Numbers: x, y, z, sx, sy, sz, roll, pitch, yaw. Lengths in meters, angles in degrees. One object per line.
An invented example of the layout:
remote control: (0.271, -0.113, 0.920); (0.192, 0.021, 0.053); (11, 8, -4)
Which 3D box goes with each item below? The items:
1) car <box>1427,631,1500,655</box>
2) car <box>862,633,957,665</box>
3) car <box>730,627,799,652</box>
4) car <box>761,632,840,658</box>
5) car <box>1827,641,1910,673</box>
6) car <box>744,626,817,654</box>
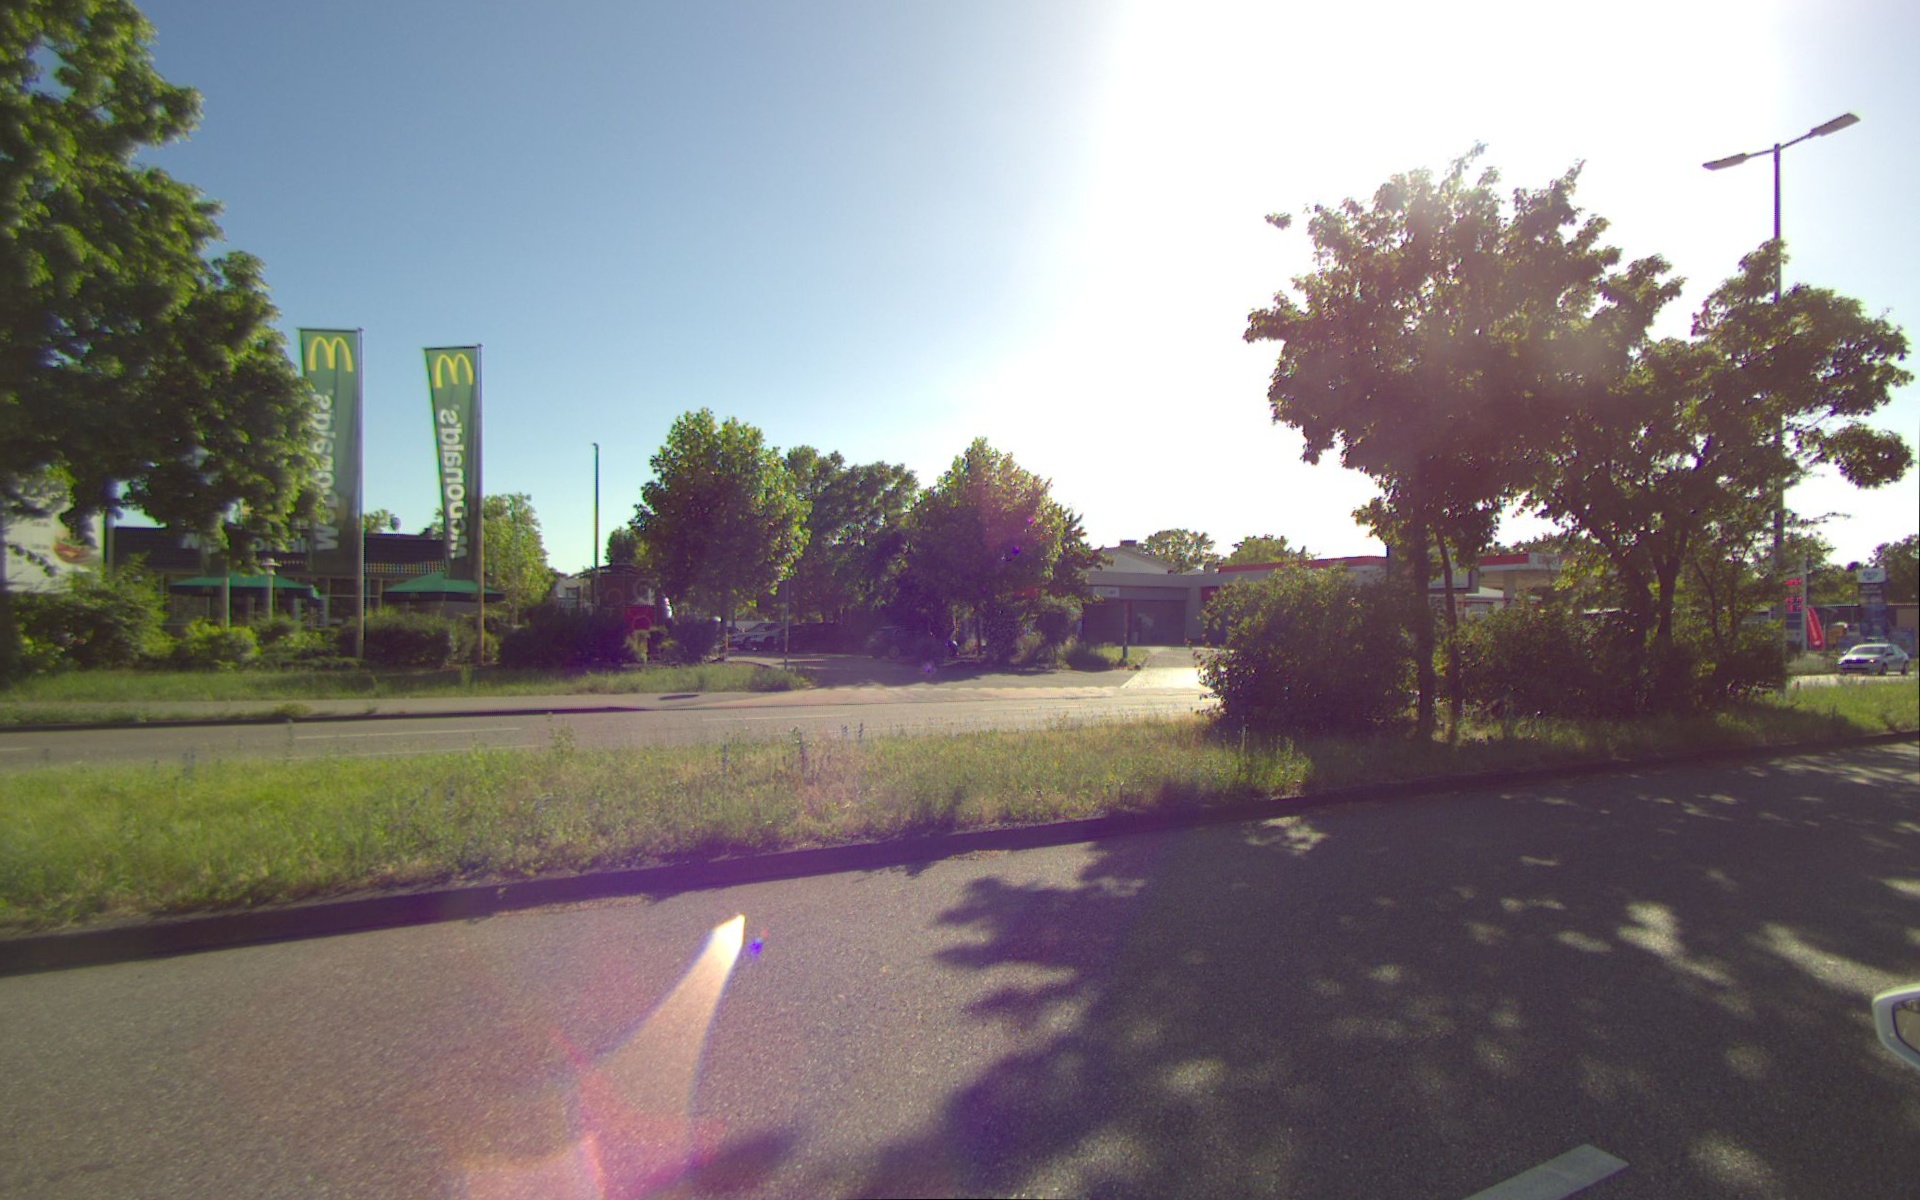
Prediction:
car: (33.609, 2.841, 67.139); (1.973, 1.494, 3.975); (1, -2, -25)
car: (-2.230, 2.159, 44.725); (3.885, 1.327, 1.780); (1, -2, -30)
car: (-12.202, 2.461, 62.783); (3.885, 1.472, 1.780); (1, -2, -30)
car: (-8.681, 2.439, 54.708); (3.885, 1.327, 1.780); (1, -2, -30)
car: (43.469, 2.734, 48.044); (4.159, 1.474, 1.732); (1, -4, -30)
car: (-10.590, 2.355, 59.217); (3.885, 1.549, 1.780); (1, -2, -30)
